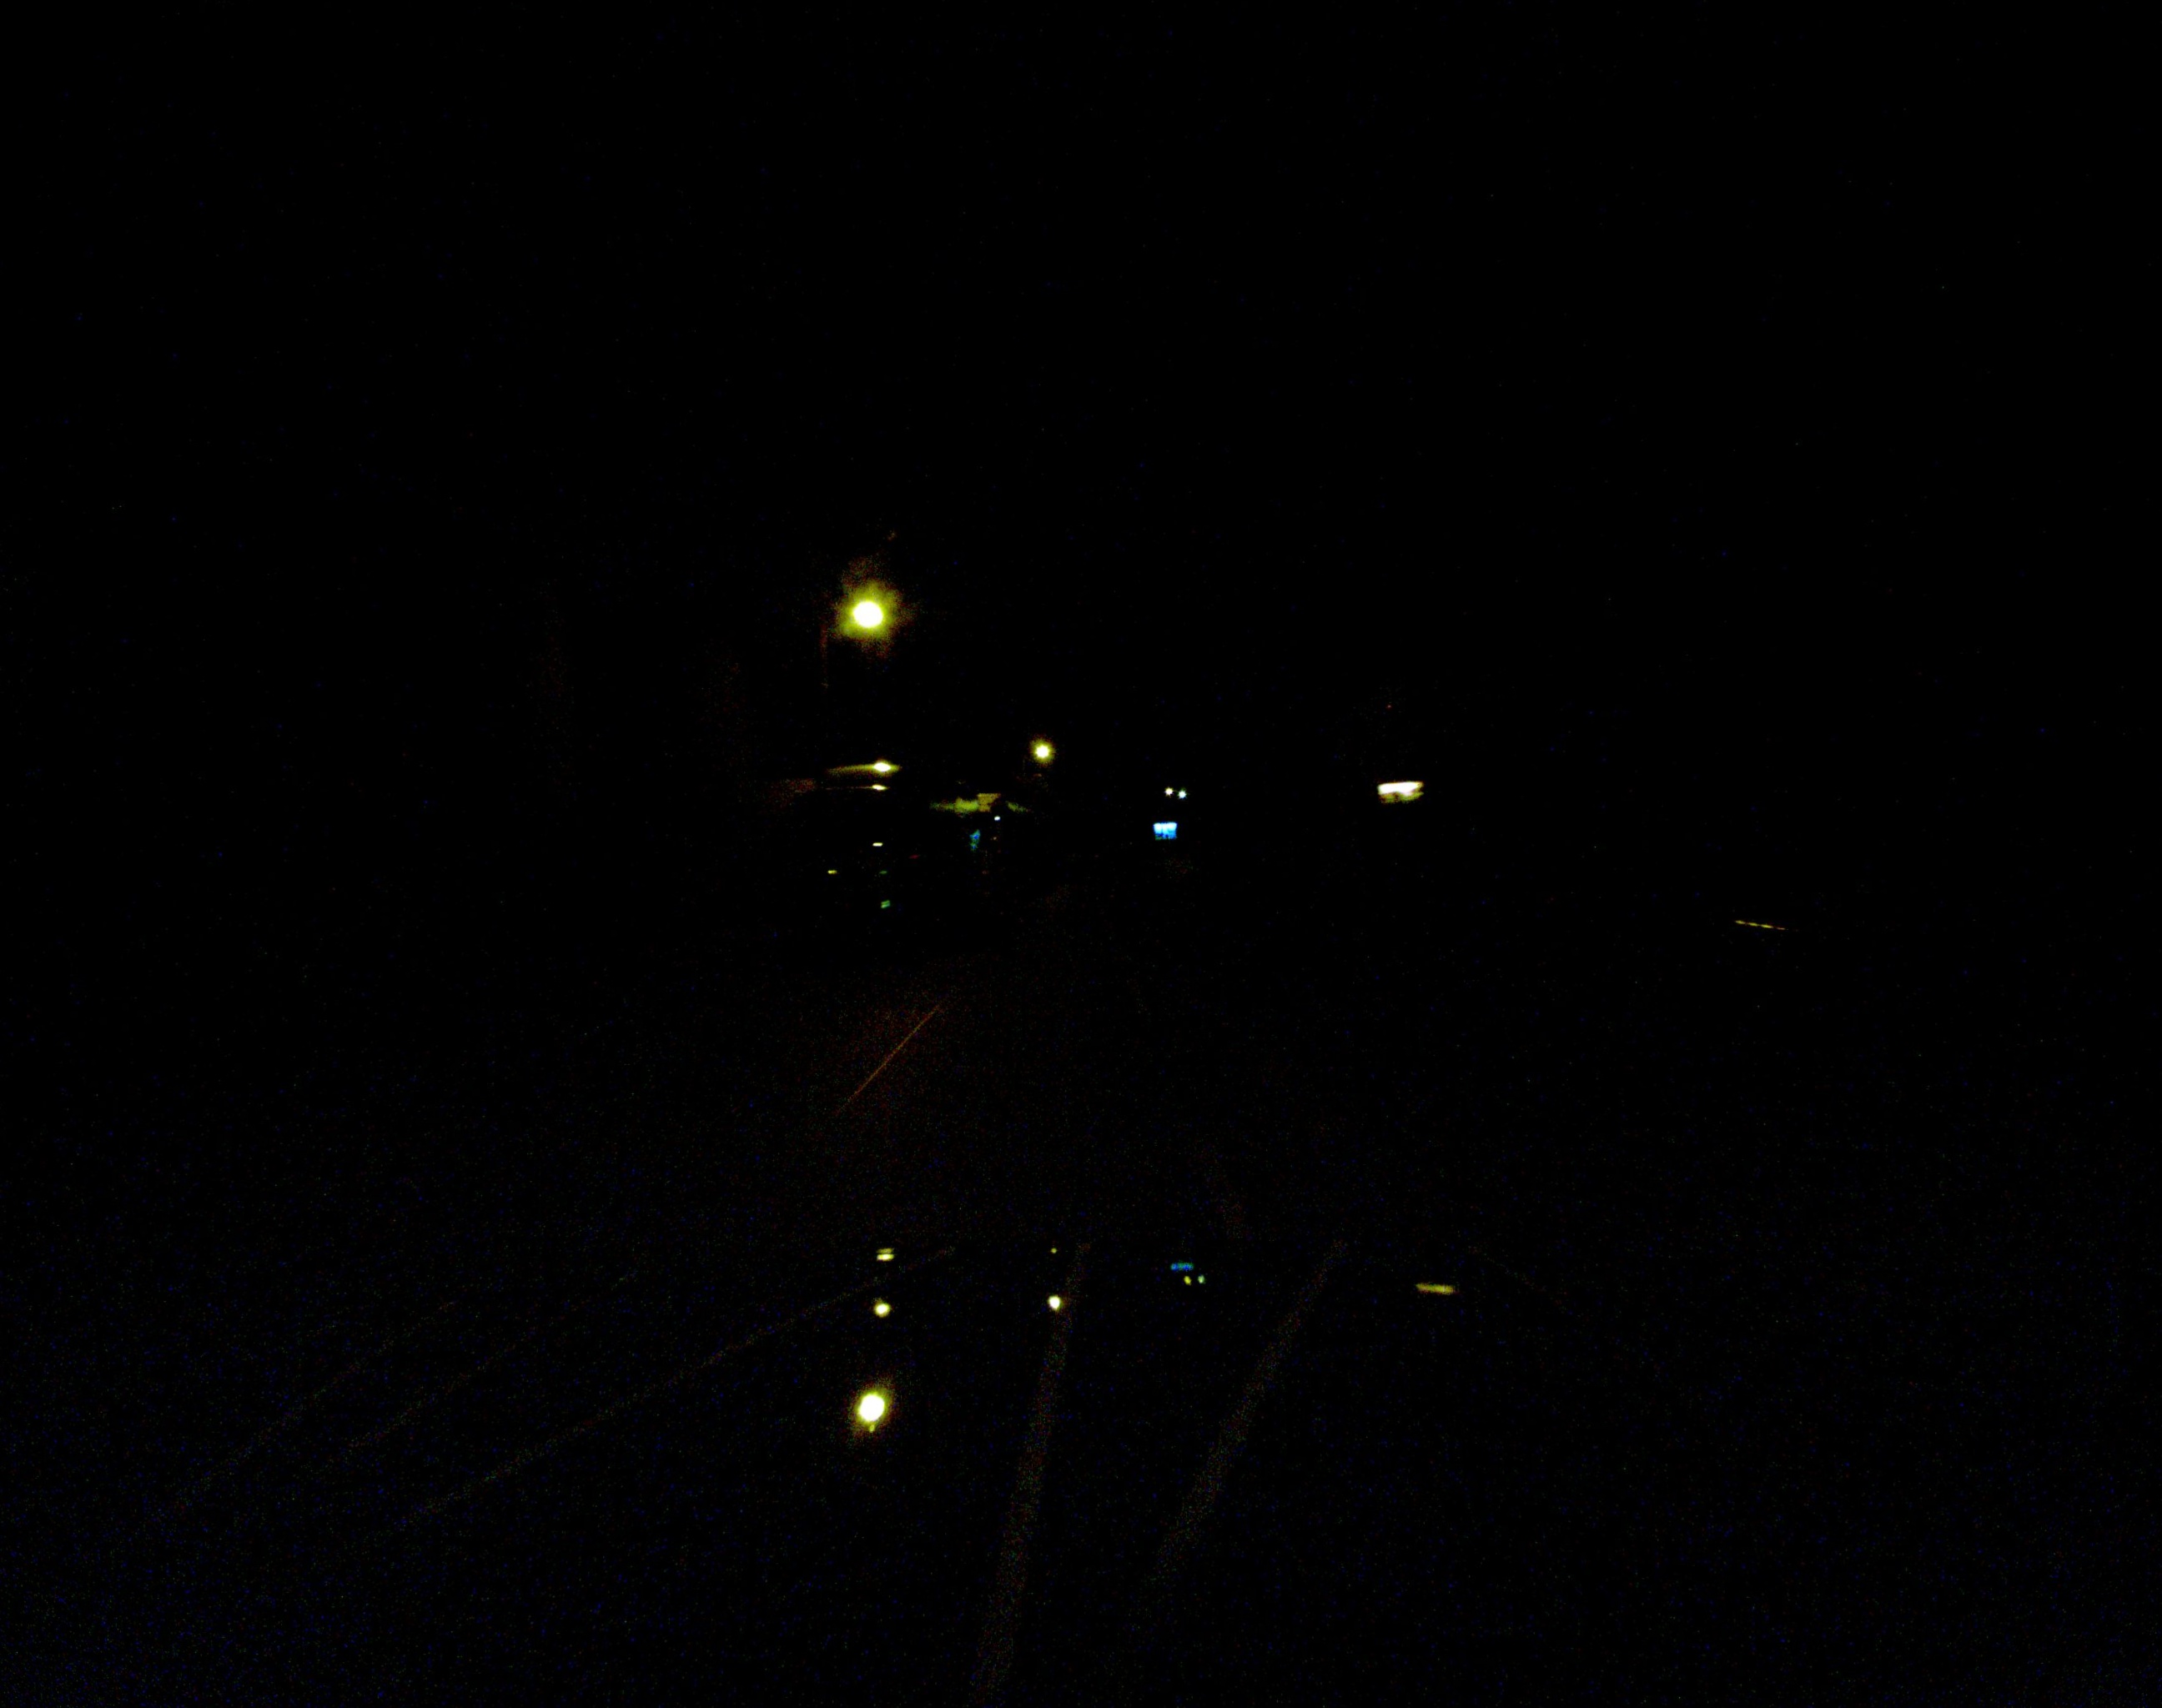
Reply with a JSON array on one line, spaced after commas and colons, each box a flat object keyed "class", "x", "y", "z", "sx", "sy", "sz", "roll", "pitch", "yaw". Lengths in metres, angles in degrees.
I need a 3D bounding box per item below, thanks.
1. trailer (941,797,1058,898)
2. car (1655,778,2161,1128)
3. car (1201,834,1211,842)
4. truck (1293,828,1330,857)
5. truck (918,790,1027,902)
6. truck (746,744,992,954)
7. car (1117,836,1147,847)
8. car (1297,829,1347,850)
[{"class": "trailer", "x": -3.443, "y": -0.343, "z": 37.179, "sx": 2.814, "sy": 3.960, "sz": 13.978, "roll": -1, "pitch": 1, "yaw": 6}, {"class": "car", "x": 5.979, "y": 0.405, "z": 4.136, "sx": 1.999, "sy": 1.627, "sz": 4.773, "roll": -3, "pitch": 1, "yaw": -1}, {"class": "car", "x": 29.315, "y": -3.755, "z": 178.101, "sx": 1.938, "sy": 1.543, "sz": 4.003, "roll": -3, "pitch": 1, "yaw": 12}, {"class": "truck", "x": 16.425, "y": -0.847, "z": 54.374, "sx": 1.997, "sy": 1.889, "sz": 5.321, "roll": -3, "pitch": 1, "yaw": 12}, {"class": "truck", "x": -4.133, "y": -0.311, "z": 30.371, "sx": 2.836, "sy": 3.960, "sz": 6.052, "roll": -1, "pitch": 1, "yaw": 6}, {"class": "truck", "x": -4.678, "y": -0.130, "z": 19.729, "sx": 2.836, "sy": 3.960, "sz": 10.343, "roll": -1, "pitch": 1, "yaw": 3}, {"class": "car", "x": 9.460, "y": -2.261, "z": 141.252, "sx": 5.079, "sy": 1.826, "sz": 1.991, "roll": -3, "pitch": 1, "yaw": 19}, {"class": "car", "x": 22.614, "y": -1.356, "z": 71.320, "sx": 4.134, "sy": 1.762, "sz": 2.001, "roll": -3, "pitch": 1, "yaw": 8}]
